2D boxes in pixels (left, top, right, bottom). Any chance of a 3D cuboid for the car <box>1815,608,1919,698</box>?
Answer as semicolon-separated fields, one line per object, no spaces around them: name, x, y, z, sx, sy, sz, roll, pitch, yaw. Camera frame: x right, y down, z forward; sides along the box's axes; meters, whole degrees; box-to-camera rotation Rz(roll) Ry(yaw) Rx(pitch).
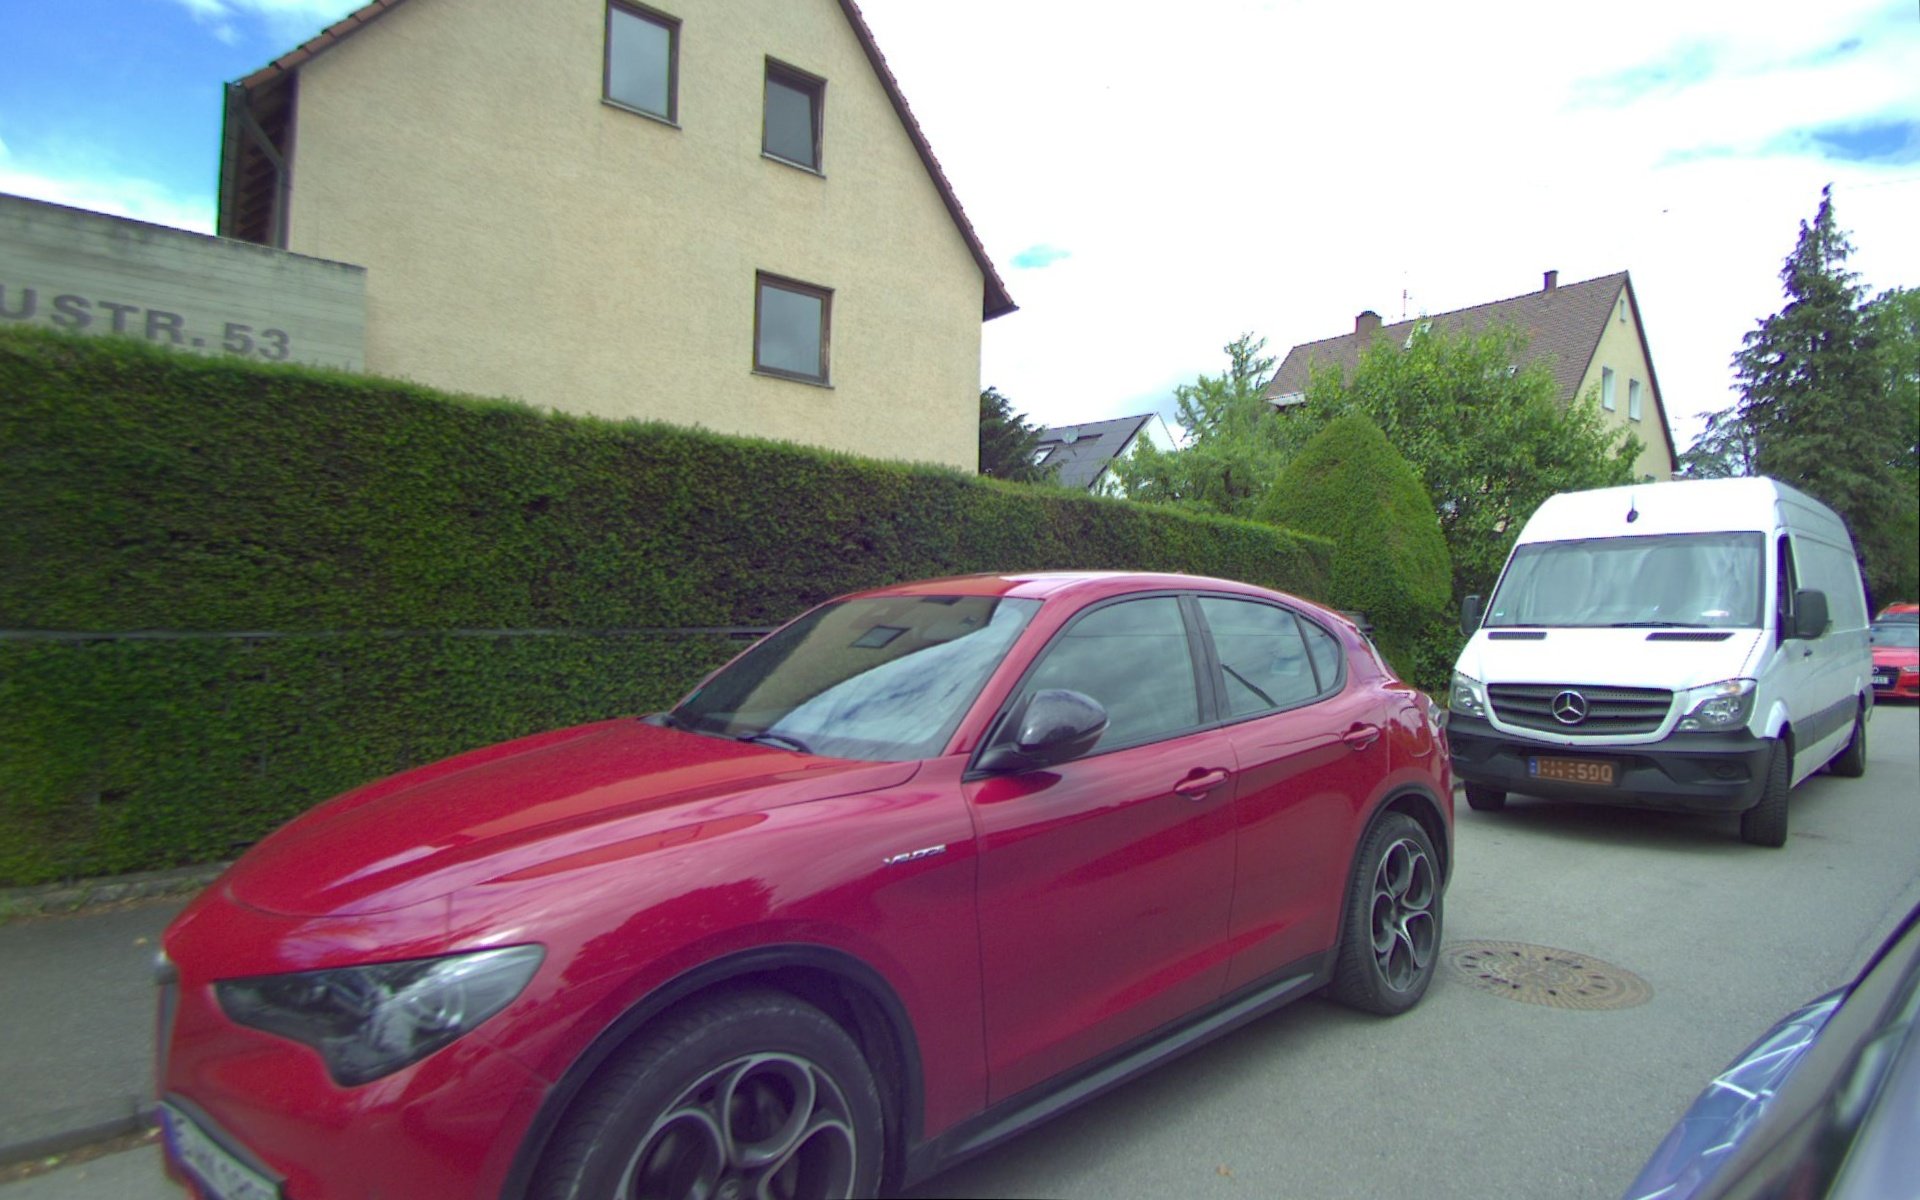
car;16.852;0.881;18.180;4.319;1.448;1.702;1;-1;-42

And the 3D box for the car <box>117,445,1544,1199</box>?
car;0.102;0.591;3.551;4.681;1.601;1.892;1;1;-40

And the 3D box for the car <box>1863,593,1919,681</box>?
car;21.132;0.770;21.825;4.085;1.788;1.771;1;-1;-38

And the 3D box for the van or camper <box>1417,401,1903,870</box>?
van or camper;6.502;0.232;8.855;6.920;2.654;2.043;1;-2;-43
